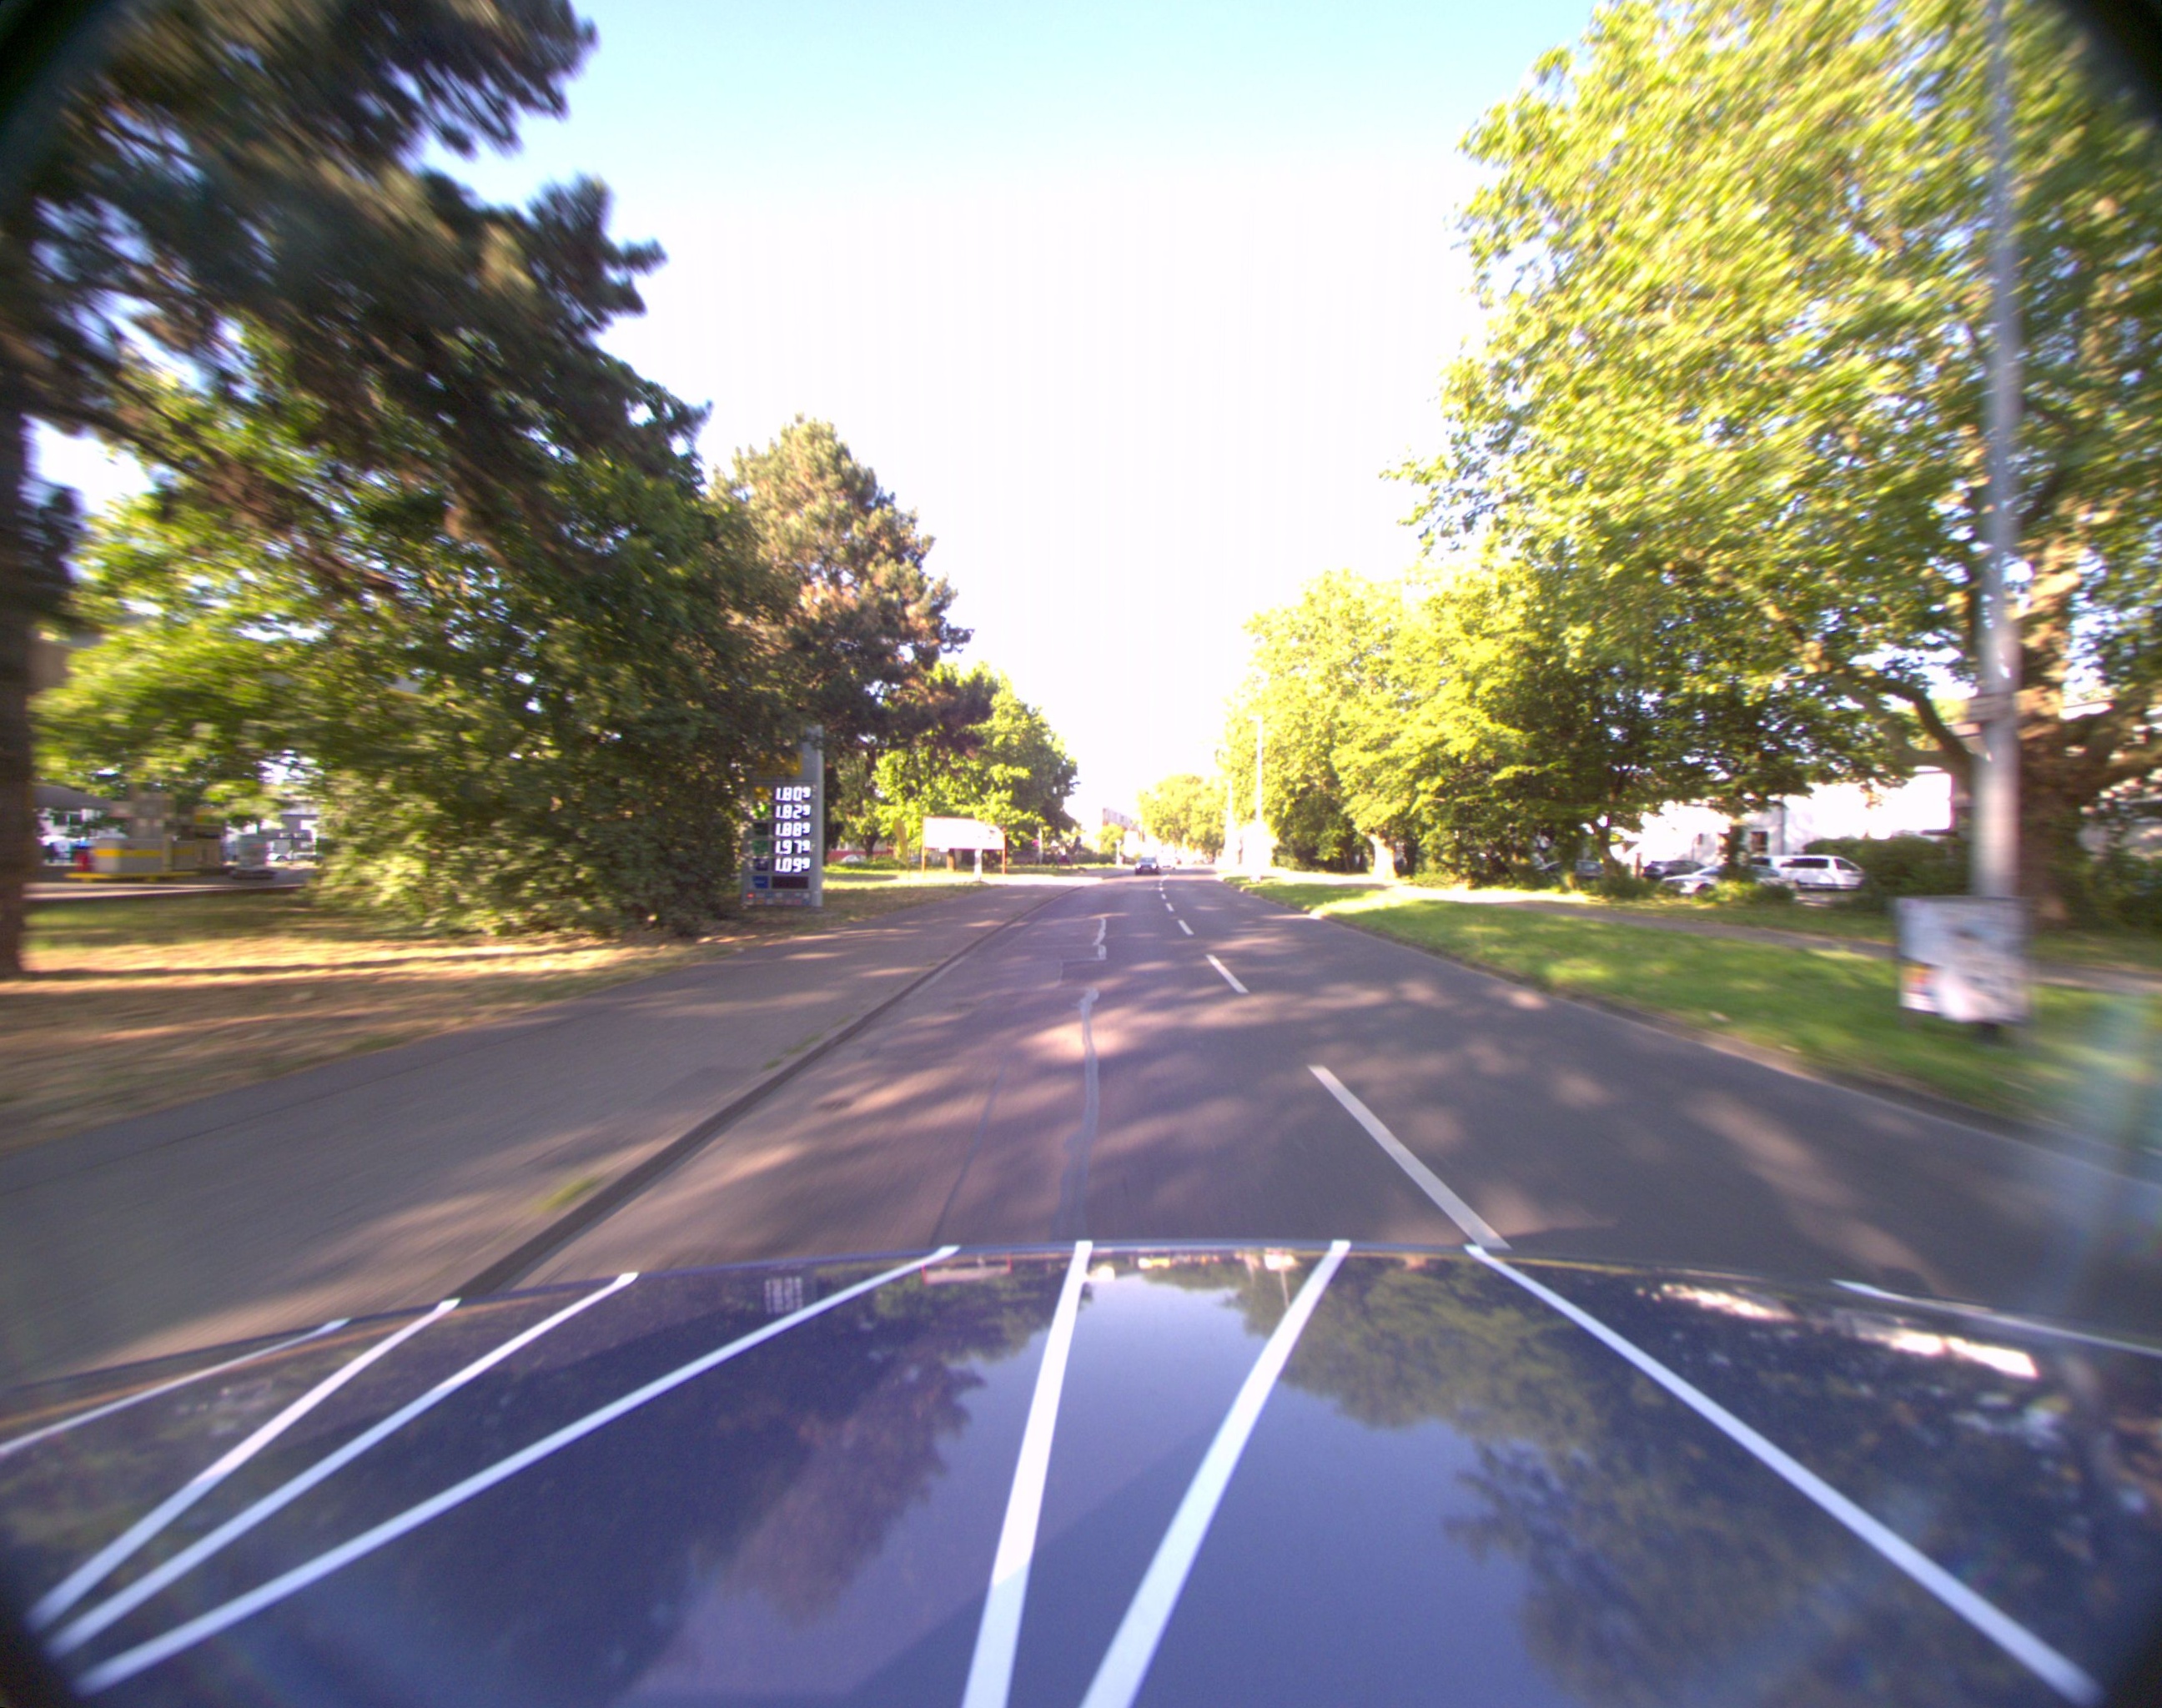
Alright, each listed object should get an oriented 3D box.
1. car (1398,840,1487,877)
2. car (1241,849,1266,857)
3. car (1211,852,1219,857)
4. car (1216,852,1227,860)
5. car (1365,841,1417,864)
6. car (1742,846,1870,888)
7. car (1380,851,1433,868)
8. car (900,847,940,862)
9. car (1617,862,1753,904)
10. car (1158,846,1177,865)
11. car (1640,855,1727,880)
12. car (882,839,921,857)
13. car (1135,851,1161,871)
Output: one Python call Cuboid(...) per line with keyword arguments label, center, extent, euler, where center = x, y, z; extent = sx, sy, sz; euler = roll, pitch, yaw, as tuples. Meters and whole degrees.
Cuboid(label="car", center=(26.789, 0.311, 56.499), extent=(5.440, 2.487, 2.188), euler=(2, 1, 7))
Cuboid(label="car", center=(29.194, -0.191, 128.682), extent=(3.992, 1.410, 1.916), euler=(1, 0, 15))
Cuboid(label="car", center=(41.020, 0.086, 232.346), extent=(1.899, 1.581, 4.075), euler=(2, 0, 16))
Cuboid(label="car", center=(25.804, 0.429, 139.571), extent=(1.764, 1.474, 4.112), euler=(-1, -1, 12))
Cuboid(label="car", center=(28.336, -0.110, 69.438), extent=(3.996, 2.032, 1.909), euler=(0, -2, 2))
Cuboid(label="car", center=(37.234, 0.645, 39.109), extent=(4.556, 2.002, 2.000), euler=(1, 1, 1))
Cuboid(label="car", center=(28.370, 0.465, 66.262), extent=(3.937, 1.374, 1.693), euler=(1, 0, 6))
Cuboid(label="car", center=(-17.646, 0.023, 83.182), extent=(4.432, 1.584, 2.004), euler=(0, 0, 39))
Cuboid(label="car", center=(22.857, 1.093, 28.842), extent=(3.740, 1.455, 1.766), euler=(1, 0, 0))
Cuboid(label="car", center=(9.744, 0.131, 85.105), extent=(1.933, 2.002, 4.002), euler=(1, 1, 8))
Cuboid(label="car", center=(38.958, 0.855, 49.235), extent=(3.995, 1.543, 1.926), euler=(1, 0, 6))
Cuboid(label="car", center=(-19.251, -0.645, 81.356), extent=(4.431, 1.807, 1.710), euler=(2, 1, 39))
Cuboid(label="car", center=(5.228, 0.538, 59.526), extent=(1.869, 1.471, 4.088), euler=(2, 0, 4))
